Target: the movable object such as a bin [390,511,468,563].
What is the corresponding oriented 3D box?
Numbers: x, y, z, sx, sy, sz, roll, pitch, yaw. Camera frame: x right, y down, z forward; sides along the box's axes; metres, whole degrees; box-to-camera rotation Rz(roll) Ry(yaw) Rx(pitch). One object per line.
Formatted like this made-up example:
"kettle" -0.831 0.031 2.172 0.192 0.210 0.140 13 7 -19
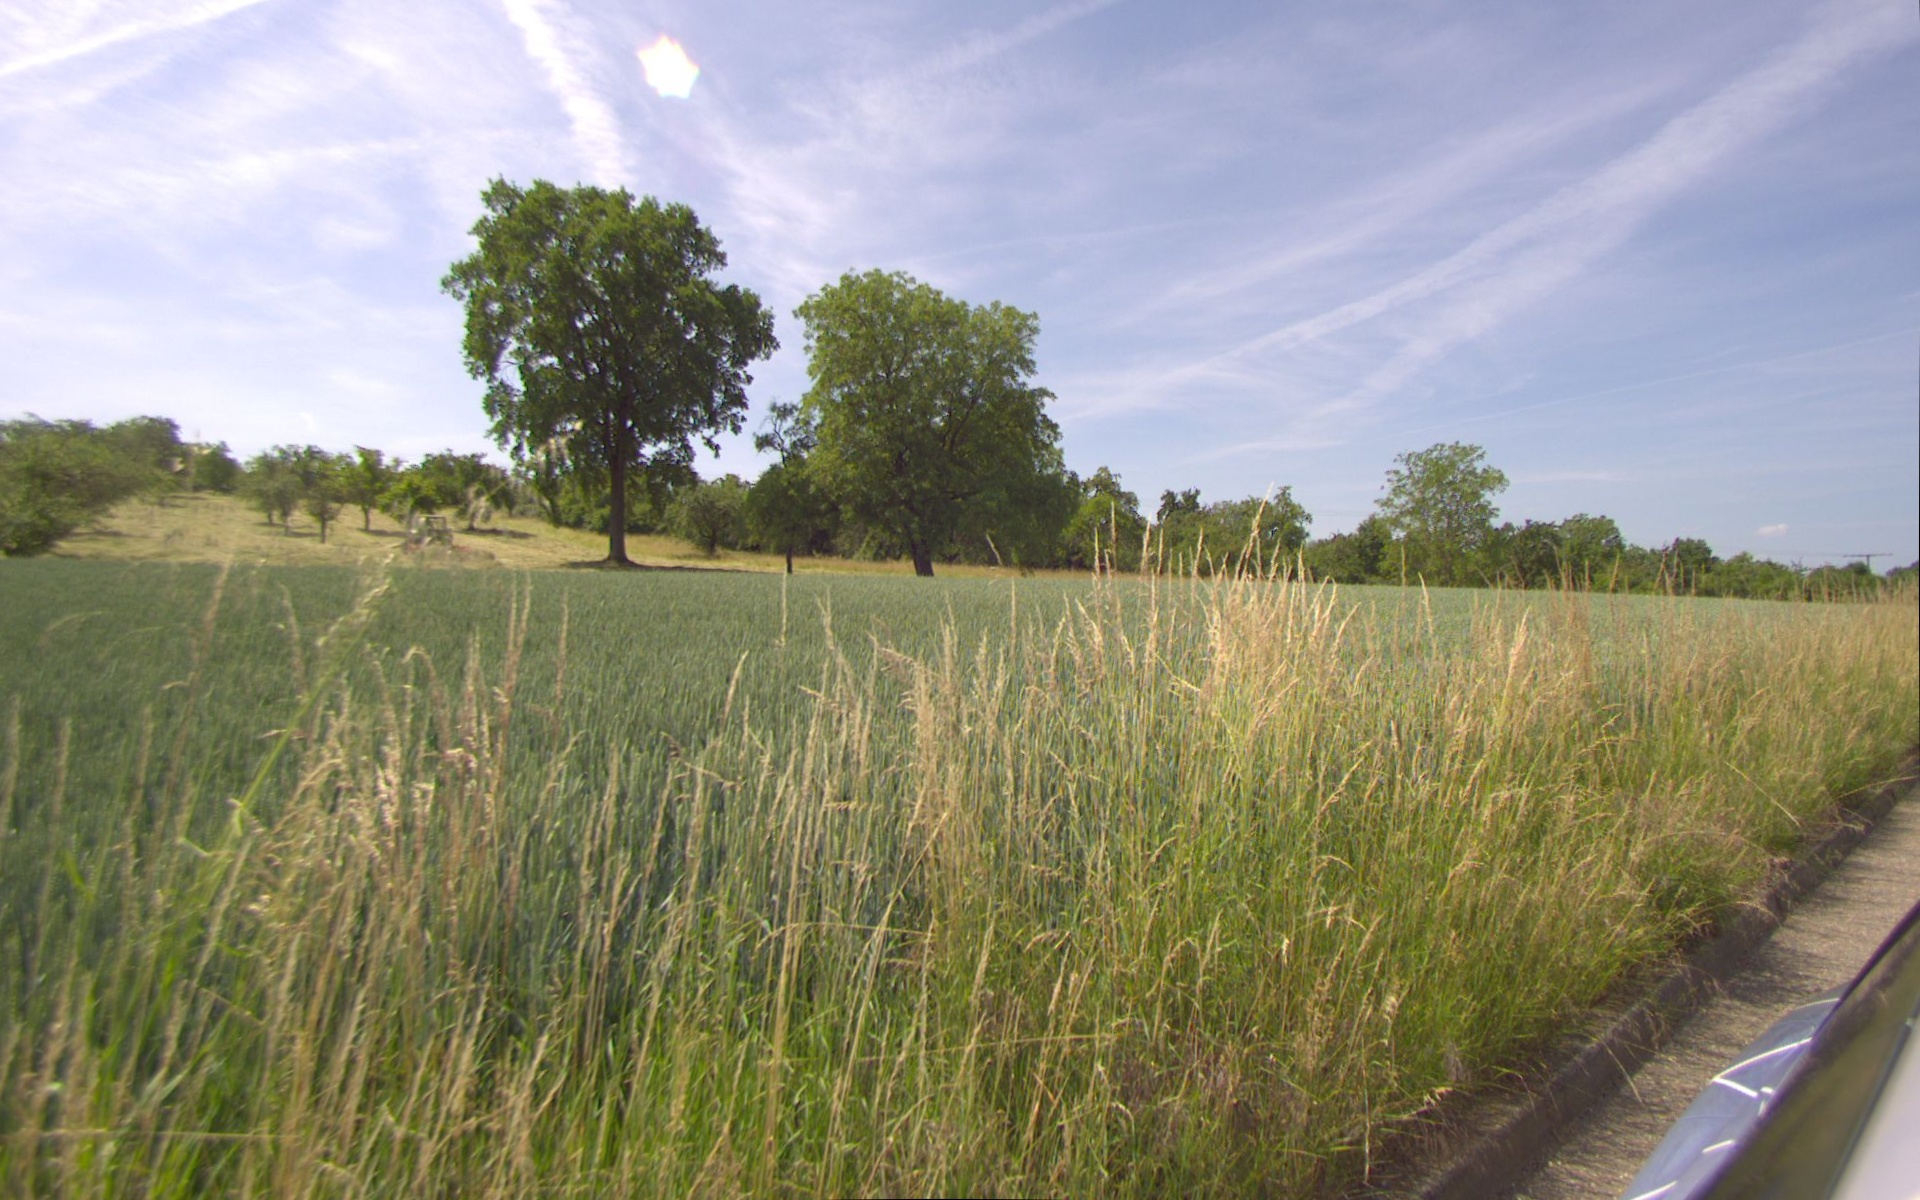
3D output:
"movable object such as a bin" -27.131 -3.248 51.576 2.401 2.398 6.576 0 4 -38
